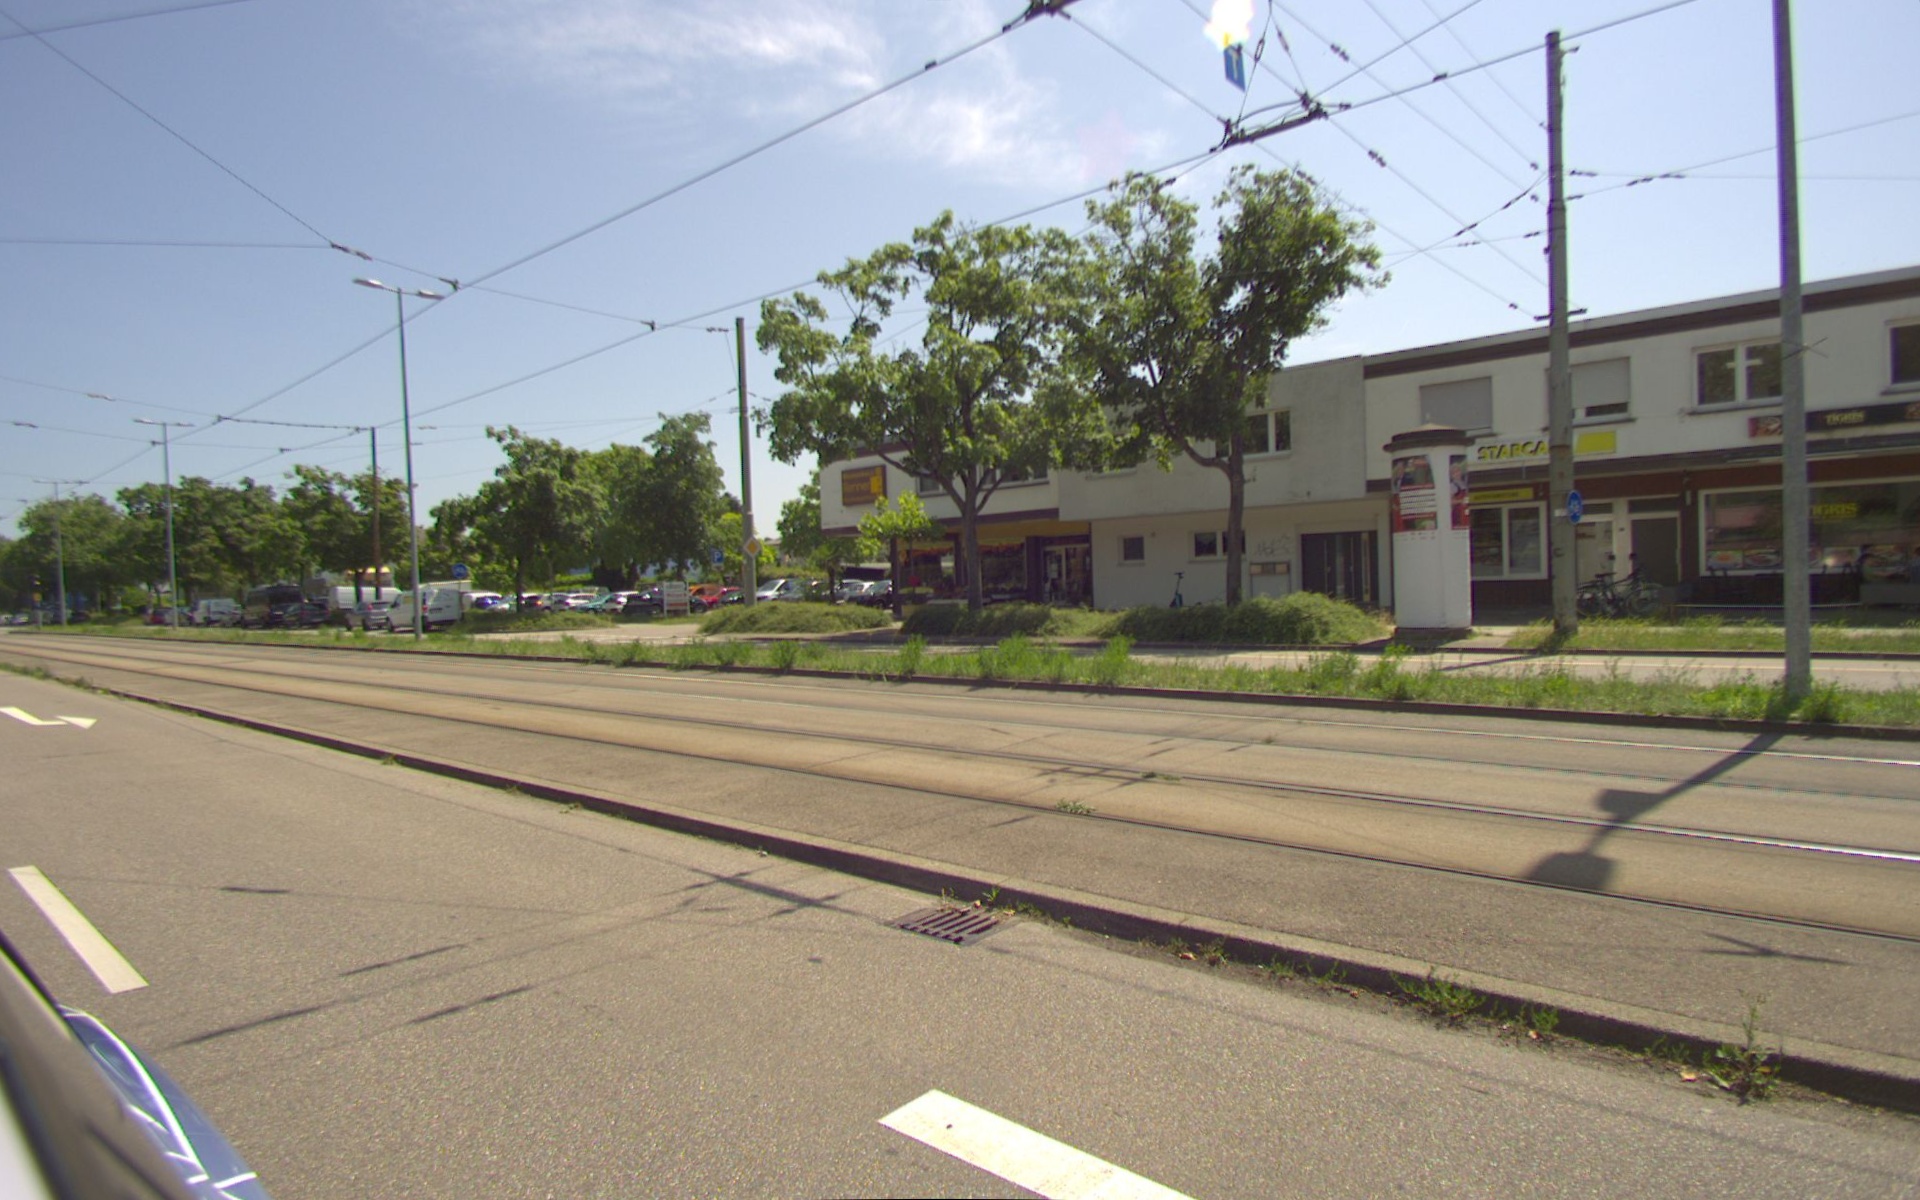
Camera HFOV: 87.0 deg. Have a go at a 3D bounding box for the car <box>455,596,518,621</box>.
[{"bbox_3d":[-31.358,0.536,67.100,1.600,1.517,3.375,-1,1,35],"label":"car"}]

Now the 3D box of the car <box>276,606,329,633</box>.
[{"bbox_3d":[-37.501,1.100,57.657,3.669,1.397,1.653,-1,1,43],"label":"car"}]

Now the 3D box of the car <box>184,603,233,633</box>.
[{"bbox_3d":[-52.550,1.281,70.737,4.506,1.989,1.660,-1,1,40],"label":"car"}]

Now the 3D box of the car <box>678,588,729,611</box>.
[{"bbox_3d":[-18.583,-0.059,73.460,1.504,1.573,3.315,-1,1,38],"label":"car"}]

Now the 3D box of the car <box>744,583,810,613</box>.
[{"bbox_3d":[-11.810,-0.118,65.535,1.811,1.798,3.950,-1,1,38],"label":"car"}]

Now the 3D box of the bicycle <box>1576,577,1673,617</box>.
[{"bbox_3d":[15.098,-0.066,23.009,1.786,0.854,0.523,-1,3,41],"label":"bicycle"}]

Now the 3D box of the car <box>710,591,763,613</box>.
[{"bbox_3d":[-15.317,0.132,69.501,1.504,1.400,3.315,-1,1,38],"label":"car"}]

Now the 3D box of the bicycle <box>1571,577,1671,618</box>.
[{"bbox_3d":[14.712,-0.055,22.555,1.786,0.854,0.523,-1,3,41],"label":"bicycle"}]

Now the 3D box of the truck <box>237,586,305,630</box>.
[{"bbox_3d":[-42.060,0.504,61.743,4.926,2.560,2.197,-1,1,41],"label":"truck"}]

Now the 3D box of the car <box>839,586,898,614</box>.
[{"bbox_3d":[-5.469,-0.033,60.898,1.622,1.549,3.450,-1,1,38],"label":"car"}]

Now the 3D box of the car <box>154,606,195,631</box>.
[{"bbox_3d":[-60.332,1.434,77.710,4.199,1.807,1.660,-2,0,40],"label":"car"}]

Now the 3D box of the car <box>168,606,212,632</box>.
[{"bbox_3d":[-56.926,1.375,74.796,4.199,1.807,1.660,-1,1,40],"label":"car"}]

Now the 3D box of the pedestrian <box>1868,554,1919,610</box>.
[{"bbox_3d":[19.300,-0.374,20.872,0.810,1.136,0.558,-1,1,41],"label":"pedestrian"}]

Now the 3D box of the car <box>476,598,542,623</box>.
[{"bbox_3d":[-27.887,0.619,62.683,1.600,1.404,3.375,-1,1,35],"label":"car"}]

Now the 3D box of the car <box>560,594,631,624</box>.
[{"bbox_3d":[-20.070,0.465,55.860,1.595,1.502,3.375,-1,1,35],"label":"car"}]

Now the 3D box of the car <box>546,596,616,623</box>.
[{"bbox_3d":[-21.643,0.537,57.857,1.600,1.404,3.375,-1,1,35],"label":"car"}]

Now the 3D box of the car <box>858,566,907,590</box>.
[{"bbox_3d":[-6.698,-1.915,87.592,2.000,2.029,3.944,-1,1,42],"label":"car"}]

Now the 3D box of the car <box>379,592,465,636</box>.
[{"bbox_3d":[-25.049,0.648,47.078,4.659,1.897,1.973,-1,1,41],"label":"car"}]

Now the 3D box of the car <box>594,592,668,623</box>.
[{"bbox_3d":[-17.806,0.404,54.893,1.790,1.502,3.375,-1,1,35],"label":"car"}]

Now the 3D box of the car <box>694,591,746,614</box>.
[{"bbox_3d":[-16.904,0.144,71.438,1.504,1.469,3.315,-1,1,38],"label":"car"}]

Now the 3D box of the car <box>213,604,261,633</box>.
[{"bbox_3d":[-48.241,1.227,67.500,3.866,1.807,1.660,-1,1,40],"label":"car"}]

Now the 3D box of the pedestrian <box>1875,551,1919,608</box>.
[{"bbox_3d":[19.774,-0.435,21.338,0.674,1.172,0.512,-1,1,41],"label":"pedestrian"}]

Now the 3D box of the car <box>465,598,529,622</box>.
[{"bbox_3d":[-29.700,0.642,64.929,1.600,1.404,3.375,-1,1,35],"label":"car"}]

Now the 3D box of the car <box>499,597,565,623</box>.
[{"bbox_3d":[-25.899,0.593,61.310,1.600,1.404,3.375,-1,1,35],"label":"car"}]

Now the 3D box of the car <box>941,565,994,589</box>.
[{"bbox_3d":[0.592,-1.786,78.564,2.000,1.785,3.944,-1,1,42],"label":"car"}]

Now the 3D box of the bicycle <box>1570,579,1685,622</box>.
[{"bbox_3d":[14.140,0.018,21.469,1.958,0.854,0.596,-1,3,41],"label":"bicycle"}]

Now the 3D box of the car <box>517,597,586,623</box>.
[{"bbox_3d":[-23.718,0.564,58.898,1.600,1.404,3.375,-1,1,35],"label":"car"}]

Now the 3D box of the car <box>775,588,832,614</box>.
[{"bbox_3d":[-9.914,0.040,64.135,1.532,1.549,3.450,-1,1,38],"label":"car"}]

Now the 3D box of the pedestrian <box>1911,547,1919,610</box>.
[{"bbox_3d":[19.199,-0.431,20.031,0.491,1.248,0.569,-1,1,40],"label":"pedestrian"}]

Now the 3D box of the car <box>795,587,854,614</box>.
[{"bbox_3d":[-8.278,0.033,61.953,1.622,1.549,3.450,-1,1,38],"label":"car"}]

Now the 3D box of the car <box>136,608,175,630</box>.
[{"bbox_3d":[-65.369,1.544,82.211,3.820,1.716,1.660,-1,1,40],"label":"car"}]

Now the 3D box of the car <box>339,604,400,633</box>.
[{"bbox_3d":[-29.903,0.937,51.209,3.568,1.397,1.653,-1,1,43],"label":"car"}]
